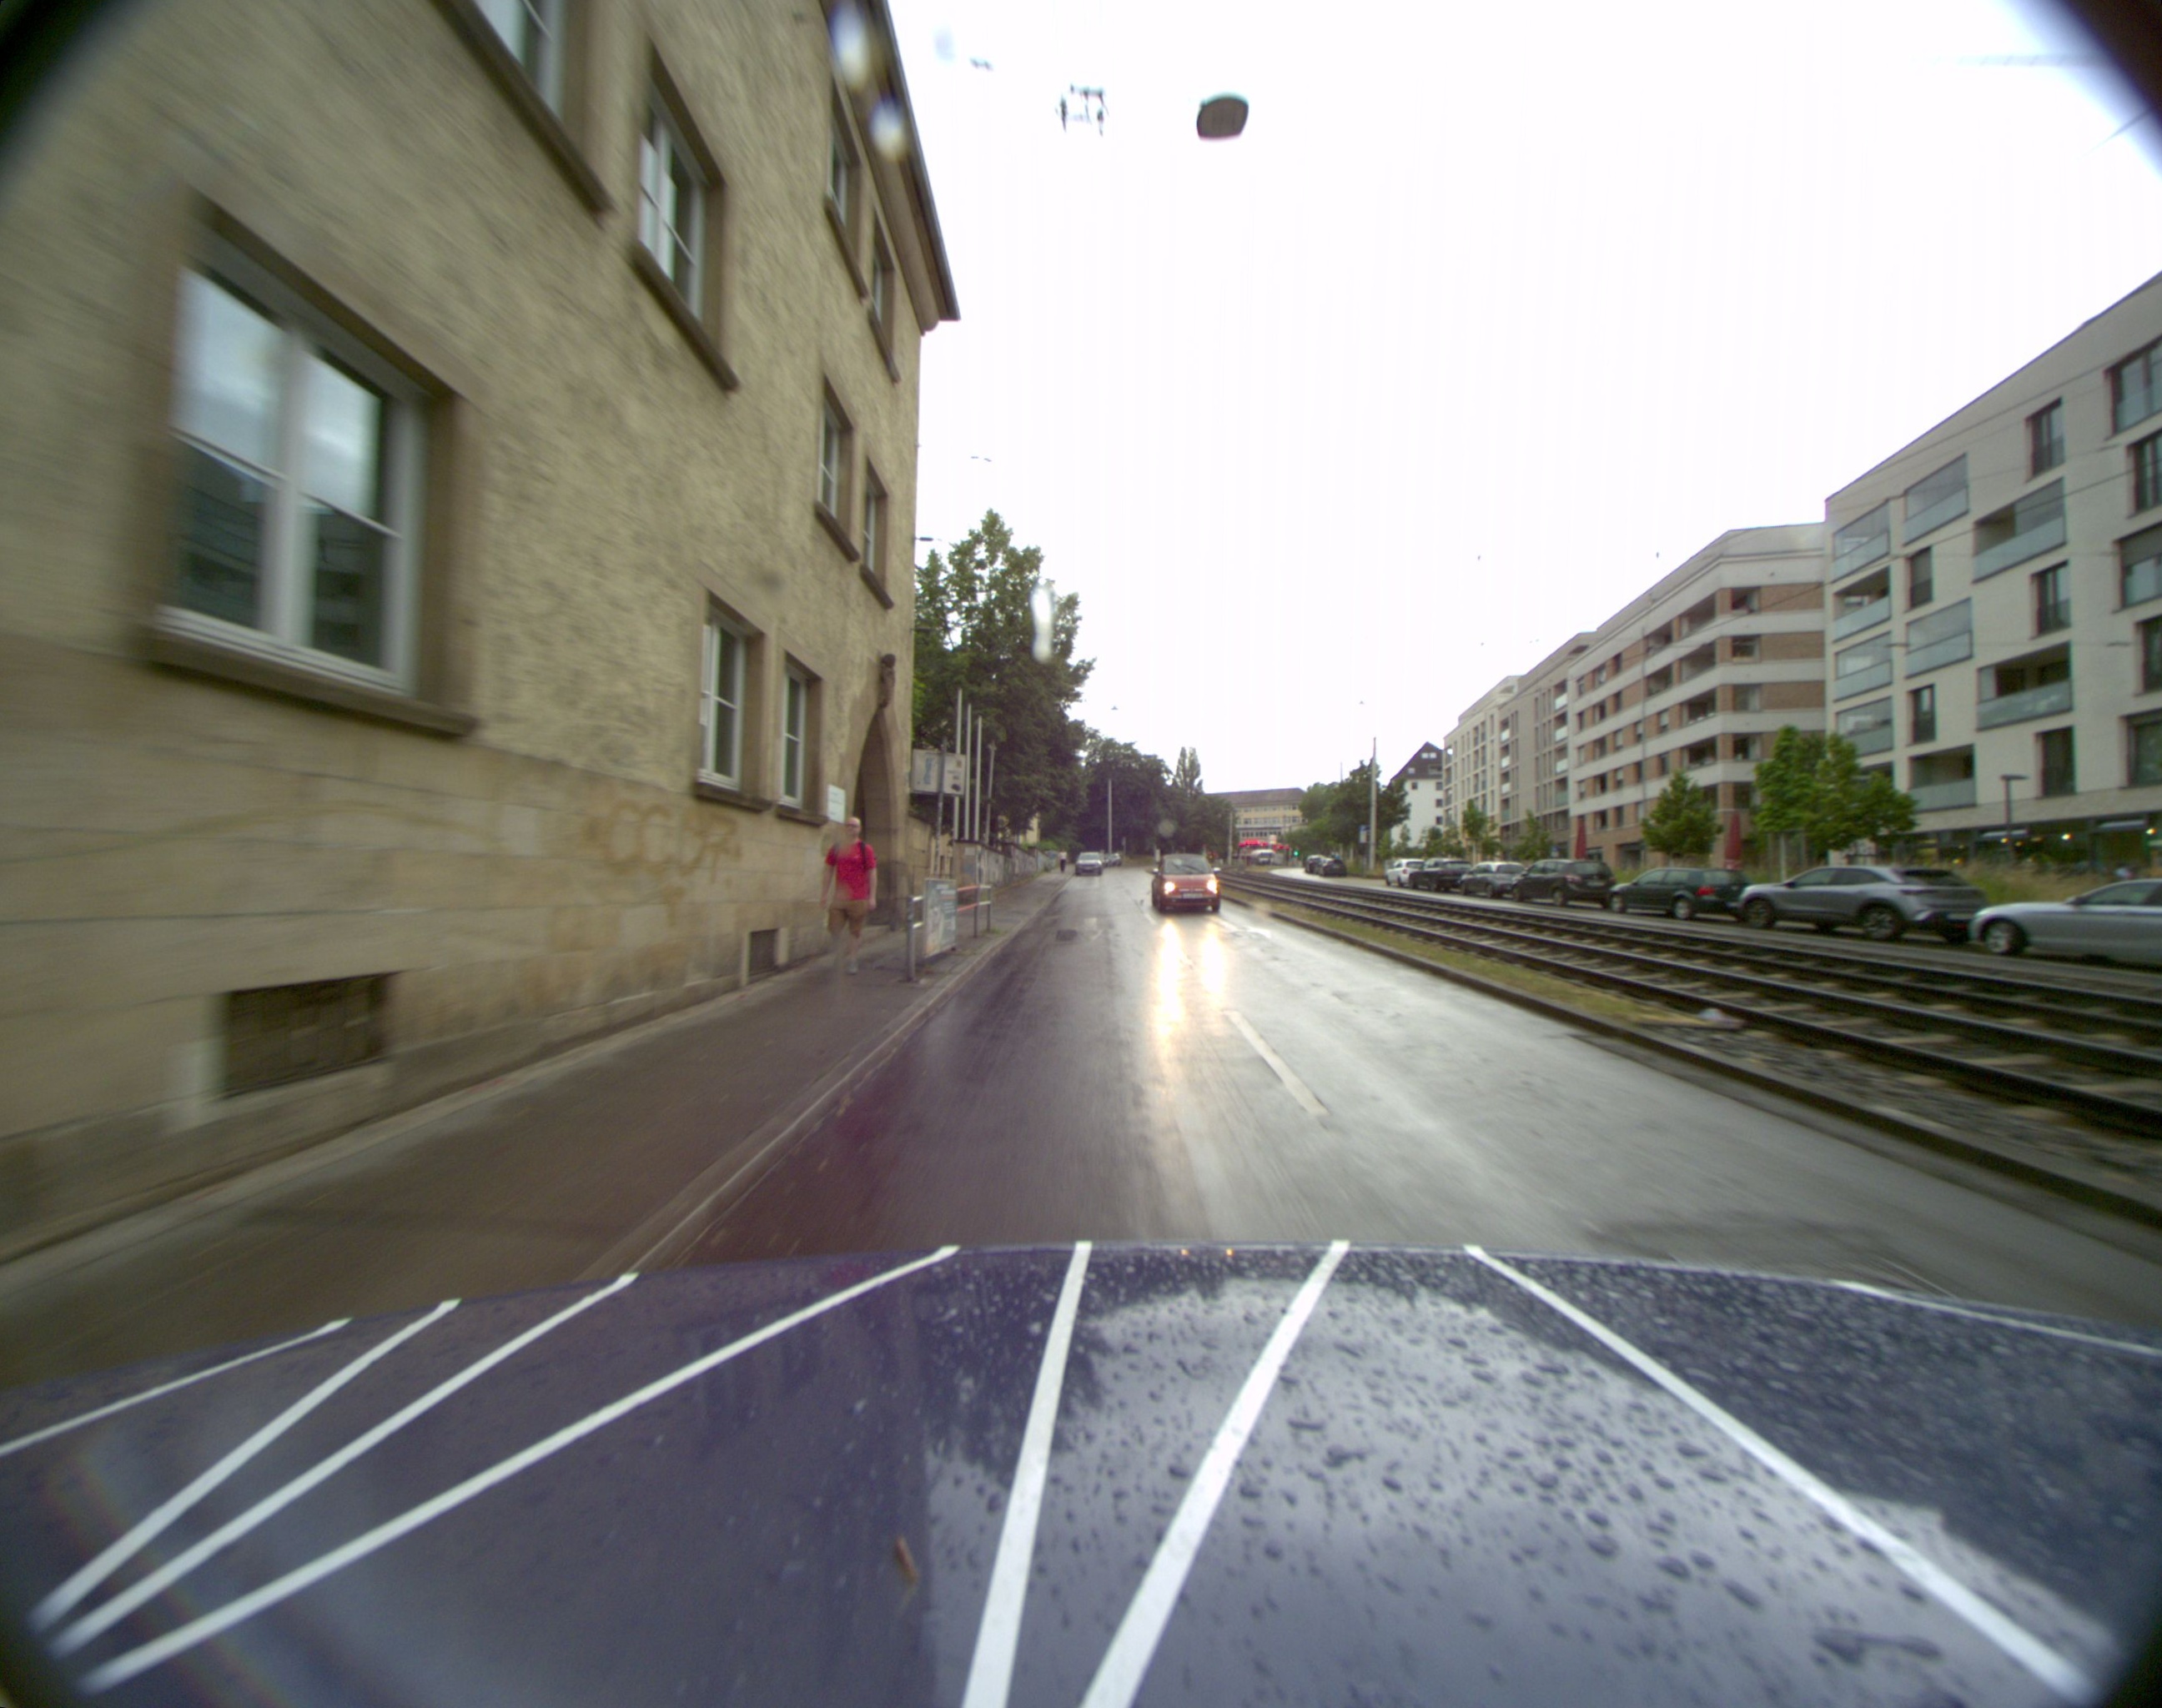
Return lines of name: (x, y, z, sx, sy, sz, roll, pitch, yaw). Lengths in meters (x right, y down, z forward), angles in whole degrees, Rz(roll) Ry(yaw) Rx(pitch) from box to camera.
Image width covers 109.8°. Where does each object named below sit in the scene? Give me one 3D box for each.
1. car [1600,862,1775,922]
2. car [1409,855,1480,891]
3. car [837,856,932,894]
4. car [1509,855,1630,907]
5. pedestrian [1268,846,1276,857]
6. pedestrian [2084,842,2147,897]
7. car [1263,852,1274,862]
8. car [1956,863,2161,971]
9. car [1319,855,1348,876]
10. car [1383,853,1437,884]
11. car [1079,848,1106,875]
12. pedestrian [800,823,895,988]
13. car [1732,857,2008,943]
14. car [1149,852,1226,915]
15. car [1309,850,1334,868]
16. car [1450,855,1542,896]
car: (16.736, 0.991, 21.251, 1.684, 1.373, 4.032, -2, 1, 1)
car: (17.236, 0.858, 36.249, 1.683, 1.496, 4.406, -1, 1, 6)
car: (-10.579, 1.137, 40.976, 4.526, 1.769, 1.824, -2, 1, 12)
car: (16.625, 0.853, 26.105, 1.684, 1.554, 3.928, -2, 1, 1)
pedestrian: (30.417, -0.350, 121.095, 0.816, 1.754, 0.751, 3, 1, 41)
pedestrian: (28.481, 0.416, 20.927, 0.657, 1.441, 0.803, -2, 2, 14)
car: (34.994, 0.563, 141.732, 1.666, 1.598, 3.812, -2, 1, 16)
car: (16.704, 0.955, 11.629, 1.684, 1.456, 4.329, -2, 1, 1)
car: (19.972, 0.869, 60.170, 1.653, 1.456, 3.672, -2, 1, 10)
car: (17.839, 0.756, 41.327, 1.649, 1.496, 3.782, -1, 1, 7)
car: (0.782, 0.480, 52.302, 1.726, 1.676, 3.865, -3, 1, 0)
pedestrian: (-2.633, 0.555, 8.649, 0.748, 1.754, 0.818, 3, 2, 1)
car: (16.804, 0.881, 16.525, 1.685, 1.521, 4.048, -2, 1, -3)
car: (2.856, 0.752, 21.081, 1.594, 1.456, 3.669, -3, 1, 1)
car: (21.626, 0.435, 68.500, 1.653, 1.456, 3.672, -2, 1, 10)
car: (17.085, 0.839, 31.486, 1.684, 1.496, 3.928, -2, 1, 1)
